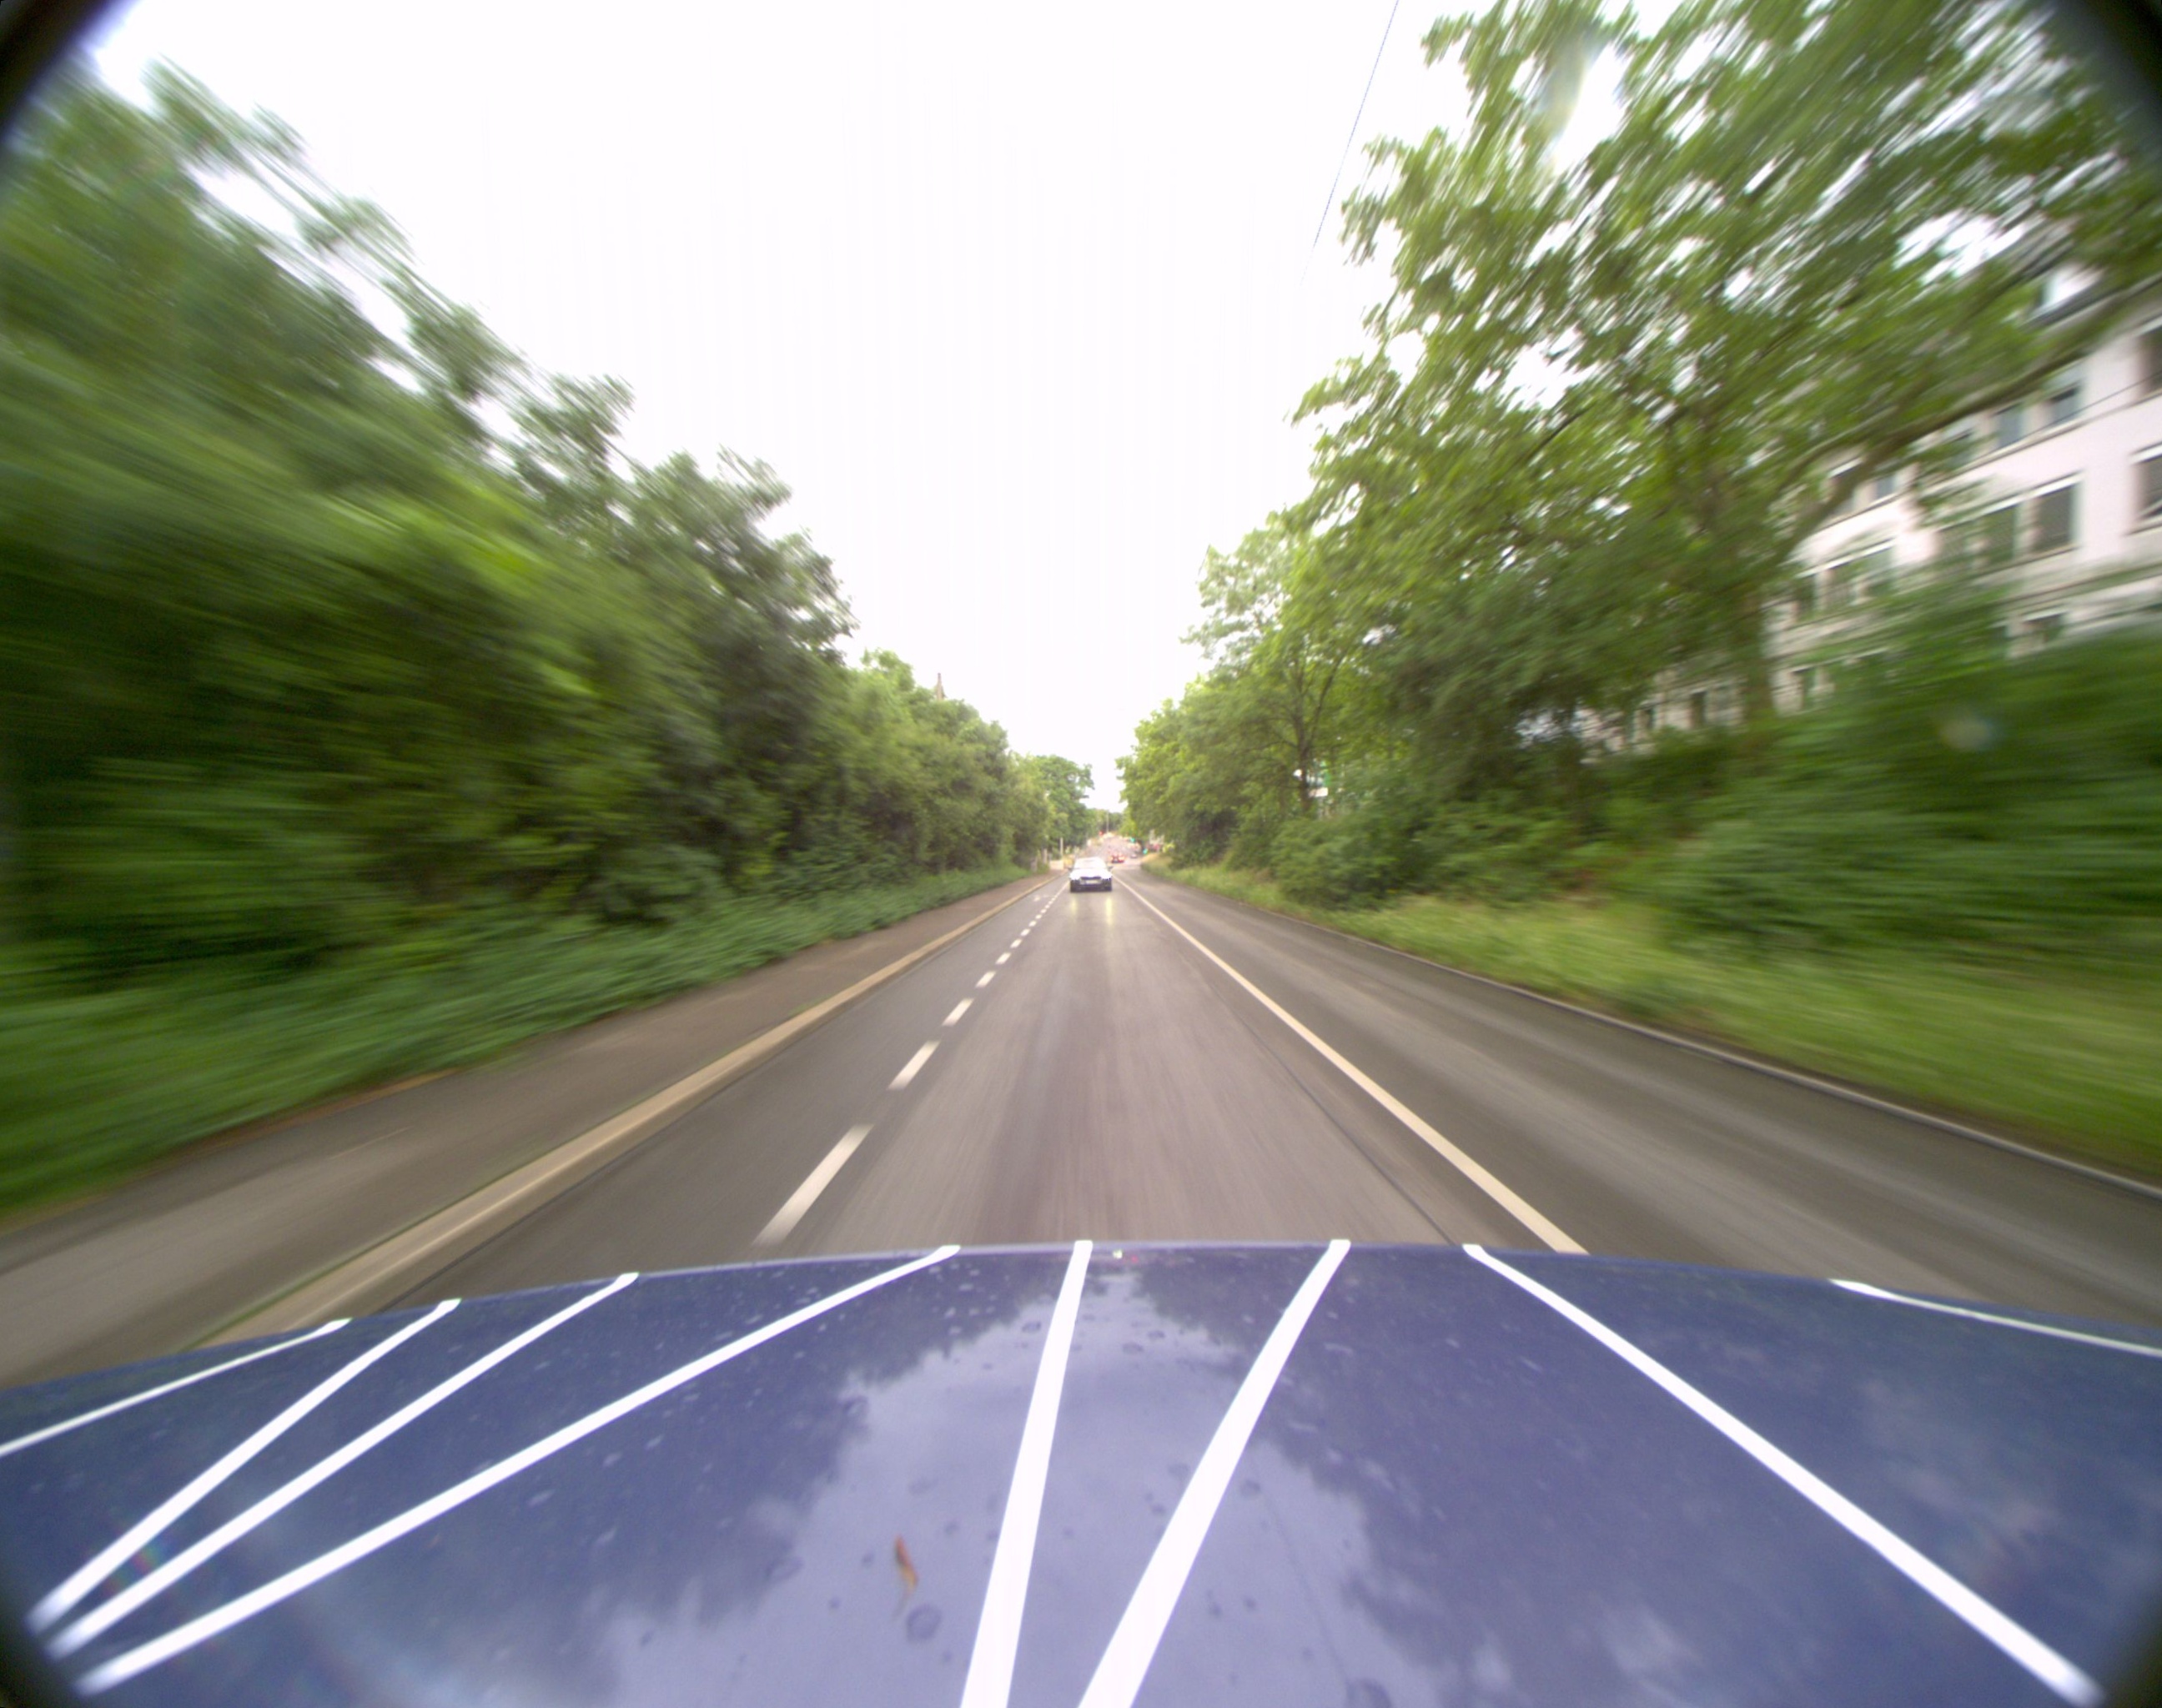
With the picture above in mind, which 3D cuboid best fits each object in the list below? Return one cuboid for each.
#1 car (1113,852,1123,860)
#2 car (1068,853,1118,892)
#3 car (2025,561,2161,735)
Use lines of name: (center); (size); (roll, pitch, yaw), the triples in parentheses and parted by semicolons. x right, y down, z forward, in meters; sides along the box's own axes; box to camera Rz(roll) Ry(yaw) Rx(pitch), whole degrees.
car: (7.790, 0.436, 159.463); (1.981, 1.497, 4.000); (-2, 1, 0)
car: (0.502, 0.753, 33.186); (1.981, 1.497, 4.000); (-2, 1, 0)
car: (14.845, -2.761, 9.106); (1.999, 2.002, 3.998); (-2, 1, -4)
